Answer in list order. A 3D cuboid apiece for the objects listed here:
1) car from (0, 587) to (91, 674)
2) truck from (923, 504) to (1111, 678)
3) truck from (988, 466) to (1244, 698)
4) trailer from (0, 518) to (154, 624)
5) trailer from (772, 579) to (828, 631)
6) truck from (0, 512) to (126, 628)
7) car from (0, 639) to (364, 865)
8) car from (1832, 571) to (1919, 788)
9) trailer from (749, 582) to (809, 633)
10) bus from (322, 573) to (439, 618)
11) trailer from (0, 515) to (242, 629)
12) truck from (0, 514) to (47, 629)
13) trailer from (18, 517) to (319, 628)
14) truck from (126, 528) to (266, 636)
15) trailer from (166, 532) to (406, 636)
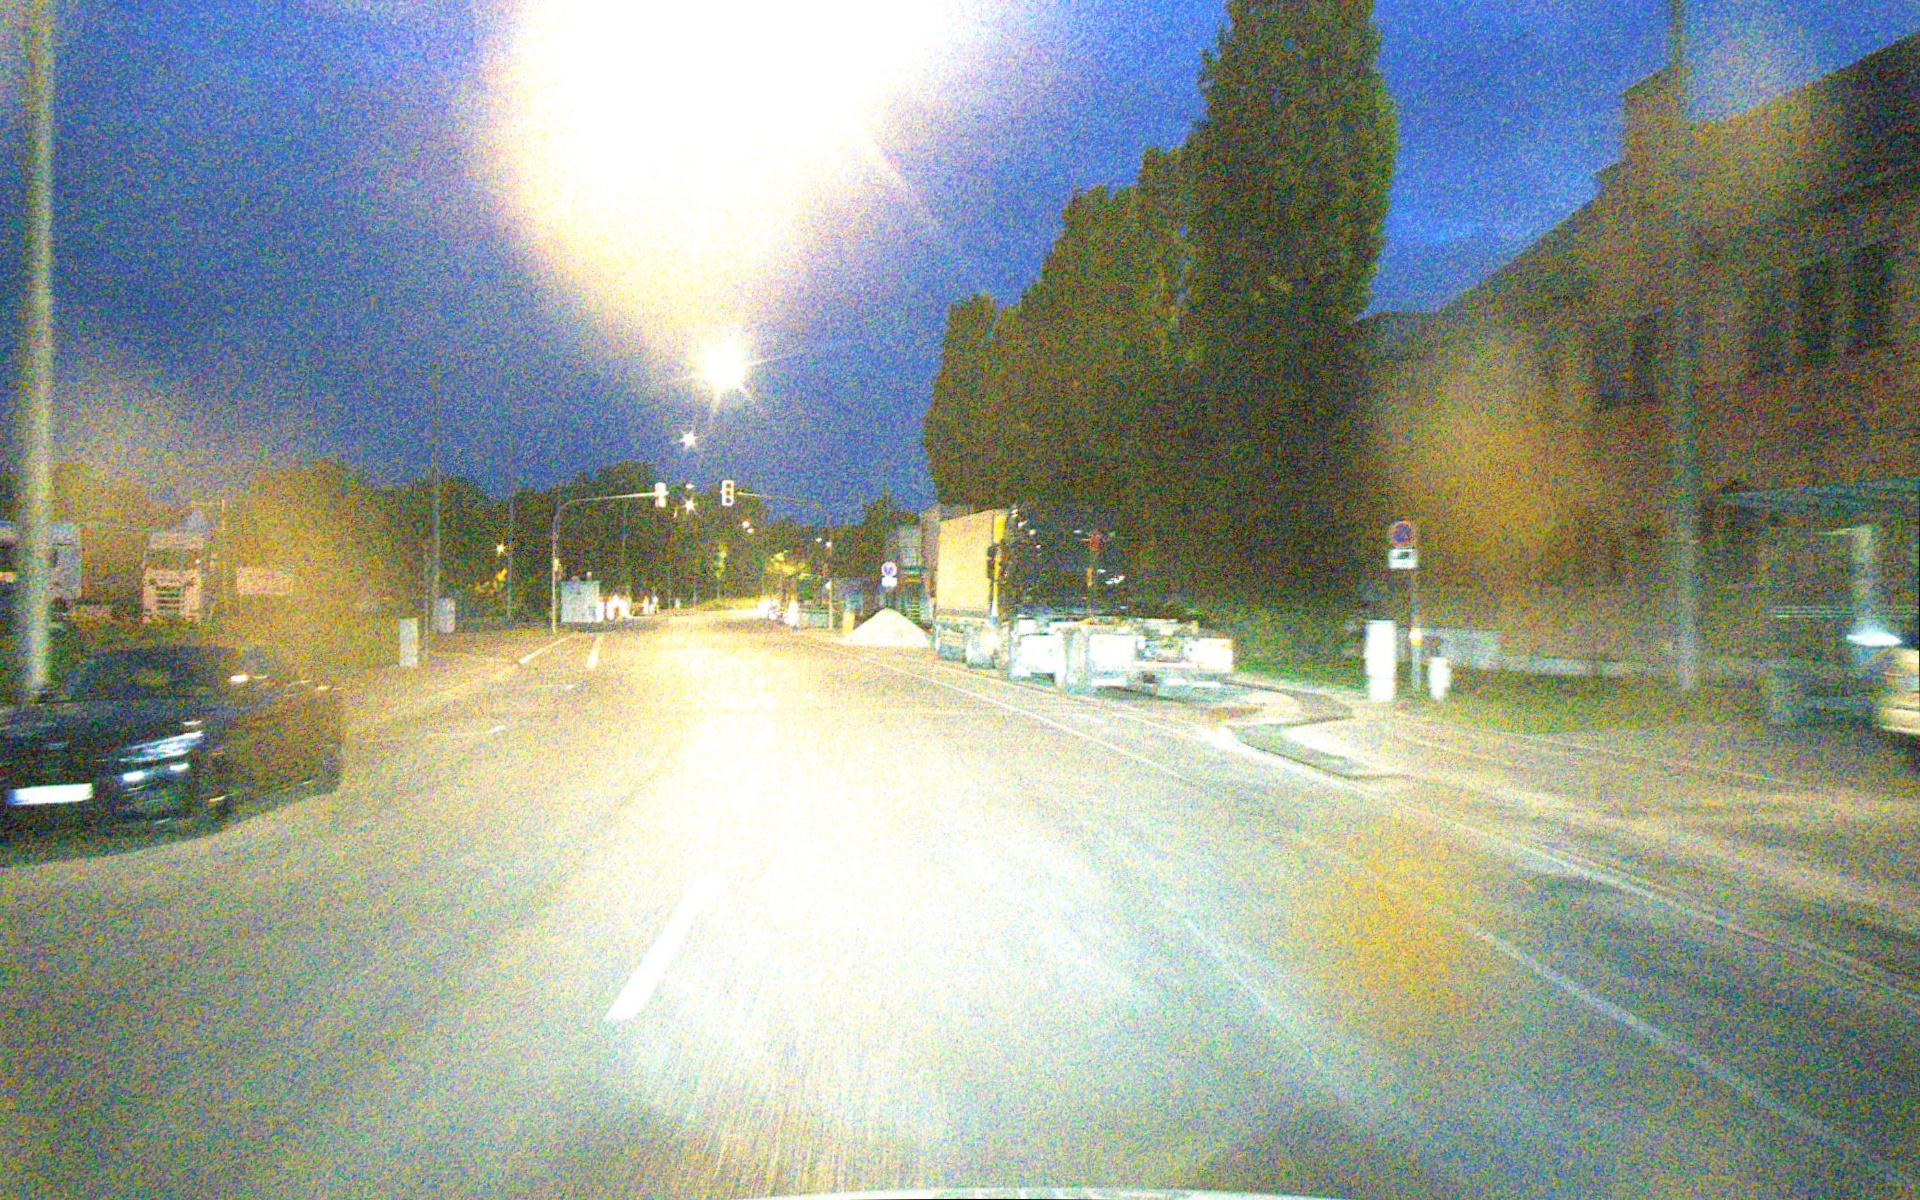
[{"bbox_3d":[-18.016,0.505,29.086,4.360,1.478,2.060,0,0,-3],"label":"car"},{"bbox_3d":[1.163,-0.183,41.935,2.705,3.849,10.200,0,0,-10],"label":"truck"},{"bbox_3d":[2.711,-0.286,32.185,2.705,3.849,9.116,0,0,-10],"label":"truck"},{"bbox_3d":[-41.139,-1.237,71.360,2.993,4.433,15.015,1,0,11],"label":"trailer"},{"bbox_3d":[-9.341,0.320,96.067,2.569,2.895,4.693,1,-1,-13],"label":"trailer"},{"bbox_3d":[-34.945,-1.123,63.187,2.993,4.221,4.940,1,0,12],"label":"truck"},{"bbox_3d":[-6.214,1.061,13.200,1.779,1.395,4.354,0,0,-7],"label":"car"},{"bbox_3d":[9.581,0.539,13.337,4.249,1.675,1.887,-3,1,-11],"label":"car"},{"bbox_3d":[-12.152,0.519,110.708,3.422,3.276,4.848,1,-1,-13],"label":"trailer"},{"bbox_3d":[-43.764,-0.390,125.495,2.948,3.260,12.683,0,1,8],"label":"bus"},{"bbox_3d":[-37.167,-1.079,71.797,2.993,4.433,15.015,1,0,11],"label":"trailer"},{"bbox_3d":[-38.675,-1.129,63.882,2.993,4.433,5.571,1,0,11],"label":"truck"},{"bbox_3d":[-33.279,-1.025,70.914,2.993,4.221,15.015,1,0,12],"label":"trailer"},{"bbox_3d":[-29.648,-0.668,64.350,2.993,4.001,4.506,1,0,5],"label":"truck"},{"bbox_3d":[-28.889,-0.610,72.186,2.993,4.001,15.012,1,0,5],"label":"trailer"}]
